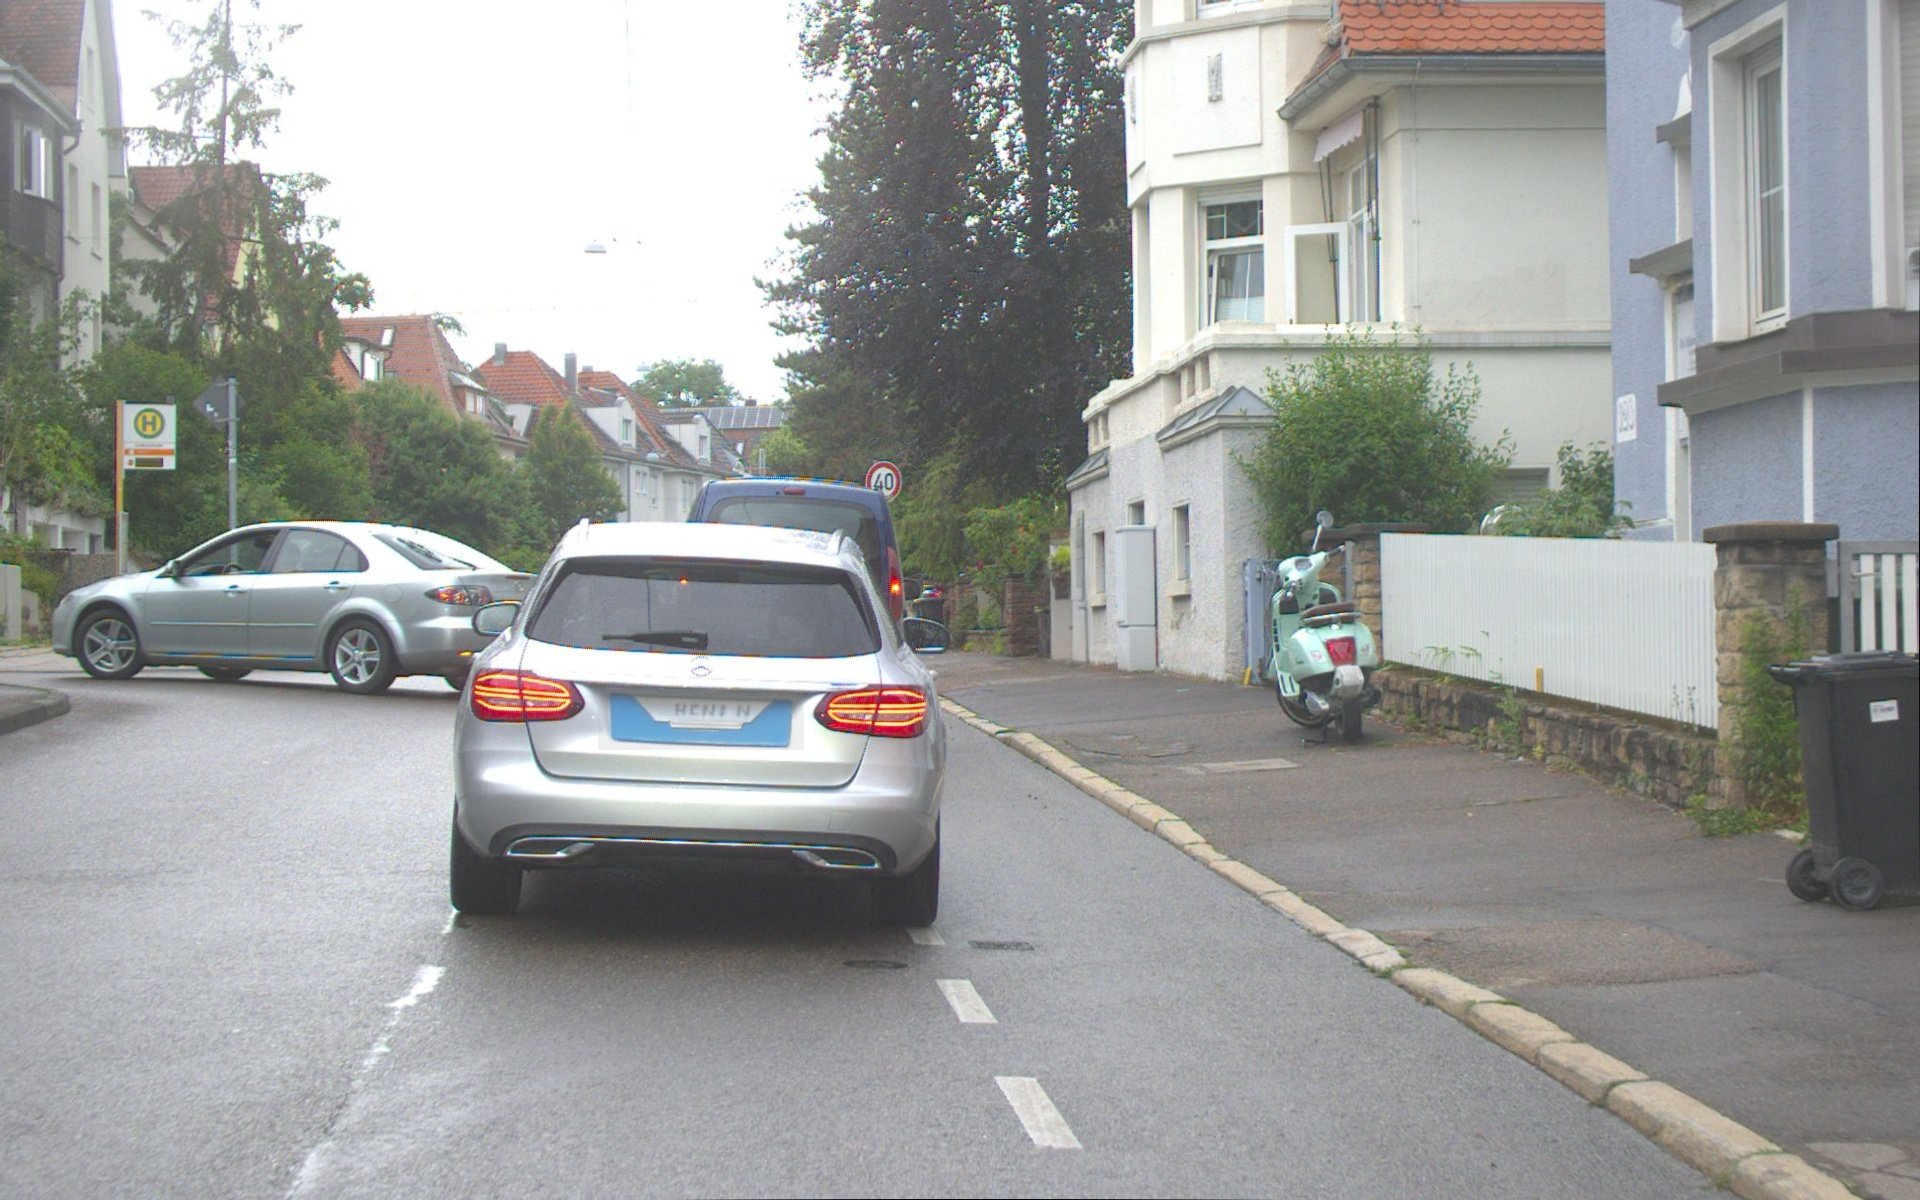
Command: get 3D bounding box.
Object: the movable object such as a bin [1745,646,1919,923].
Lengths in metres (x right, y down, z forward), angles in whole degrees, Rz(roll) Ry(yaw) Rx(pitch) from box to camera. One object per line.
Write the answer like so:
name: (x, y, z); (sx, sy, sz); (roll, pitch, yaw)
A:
movable object such as a bin: (3.262, 0.664, 12.600); (0.549, 0.932, 0.634); (-3, 2, -3)

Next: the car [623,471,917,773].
car: (-1.252, 0.077, 23.896); (1.824, 1.876, 4.096); (-1, 2, -1)

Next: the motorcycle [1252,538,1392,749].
motorcycle: (2.323, 0.248, 22.277); (0.582, 1.257, 2.332); (-2, 1, -1)

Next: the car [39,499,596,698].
car: (-5.464, -0.058, 29.198); (4.325, 1.534, 1.997); (1, 2, 27)

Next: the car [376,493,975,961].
car: (-1.043, 0.373, 13.656); (1.982, 1.548, 4.298); (1, 1, -2)
